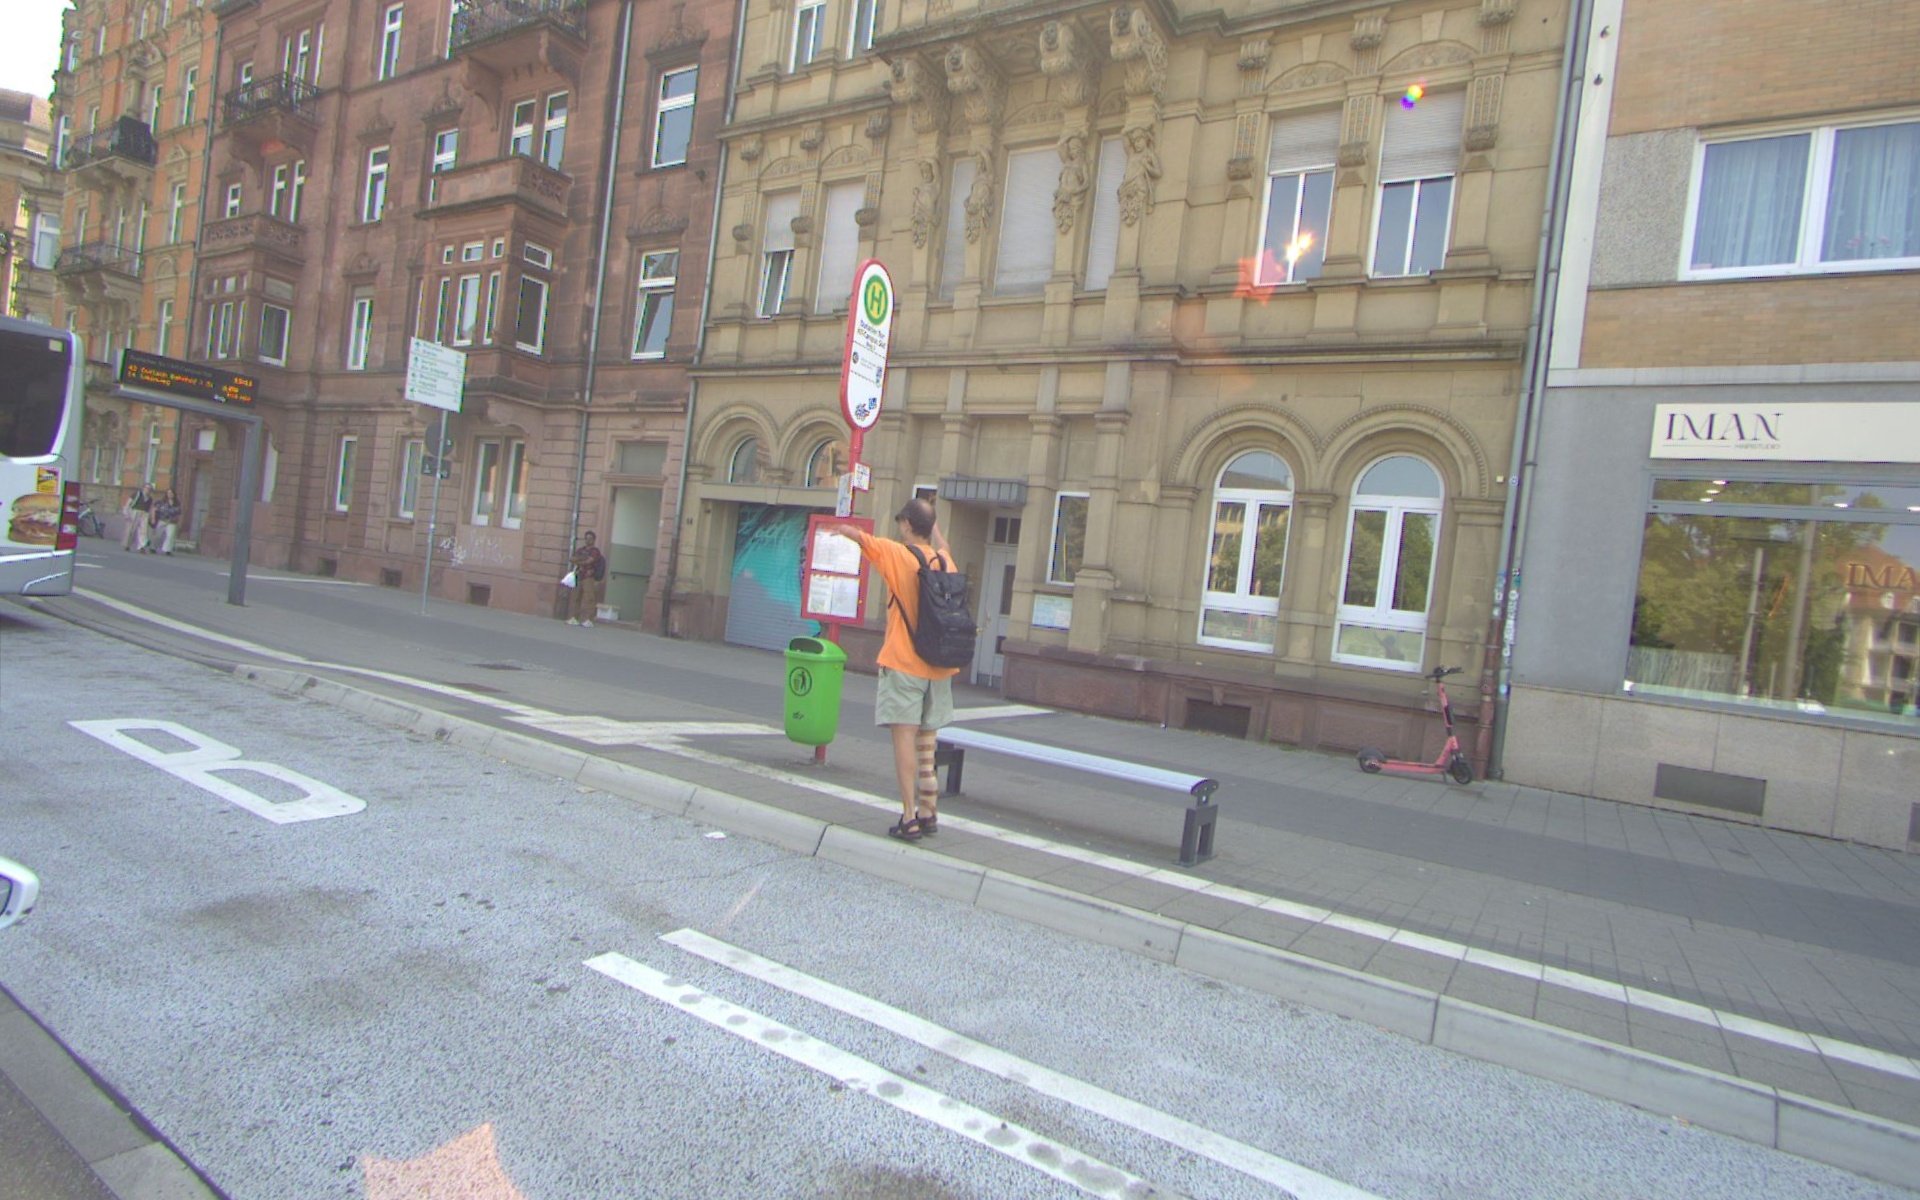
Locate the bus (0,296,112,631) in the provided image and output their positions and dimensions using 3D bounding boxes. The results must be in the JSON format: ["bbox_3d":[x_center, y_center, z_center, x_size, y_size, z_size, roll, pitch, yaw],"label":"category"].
[{"bbox_3d":[-14.438,-1.863,11.878,11.751,3.149,2.745,7,3,29],"label":"bus"}]

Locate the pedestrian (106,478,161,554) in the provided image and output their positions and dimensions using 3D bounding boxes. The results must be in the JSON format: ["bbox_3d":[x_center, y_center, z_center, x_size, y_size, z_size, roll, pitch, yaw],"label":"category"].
[{"bbox_3d":[-21.060,-2.126,25.629,0.833,1.798,0.715,7,1,31],"label":"pedestrian"}]

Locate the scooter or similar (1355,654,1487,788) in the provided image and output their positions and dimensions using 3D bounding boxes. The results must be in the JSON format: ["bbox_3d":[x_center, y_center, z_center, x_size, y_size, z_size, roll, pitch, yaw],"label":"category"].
[{"bbox_3d":[4.898,1.259,10.714,1.122,1.228,0.476,7,1,27],"label":"scooter or similar"}]

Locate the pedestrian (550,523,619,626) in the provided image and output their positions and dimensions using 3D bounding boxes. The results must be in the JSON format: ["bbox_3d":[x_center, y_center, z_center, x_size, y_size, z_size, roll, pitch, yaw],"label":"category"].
[{"bbox_3d":[-7.016,-0.452,18.816,0.729,1.800,0.870,7,1,4],"label":"pedestrian"}]

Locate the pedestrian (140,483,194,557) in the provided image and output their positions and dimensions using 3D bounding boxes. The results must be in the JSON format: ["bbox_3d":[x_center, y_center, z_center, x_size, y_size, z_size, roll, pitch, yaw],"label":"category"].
[{"bbox_3d":[-20.691,-2.084,26.254,0.856,1.800,0.715,7,1,30],"label":"pedestrian"}]

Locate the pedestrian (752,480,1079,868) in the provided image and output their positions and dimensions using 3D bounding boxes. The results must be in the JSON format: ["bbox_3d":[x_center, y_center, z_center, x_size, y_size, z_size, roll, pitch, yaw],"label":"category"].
[{"bbox_3d":[-0.248,0.334,5.308,1.223,1.762,0.962,7,0,44],"label":"pedestrian"}]
